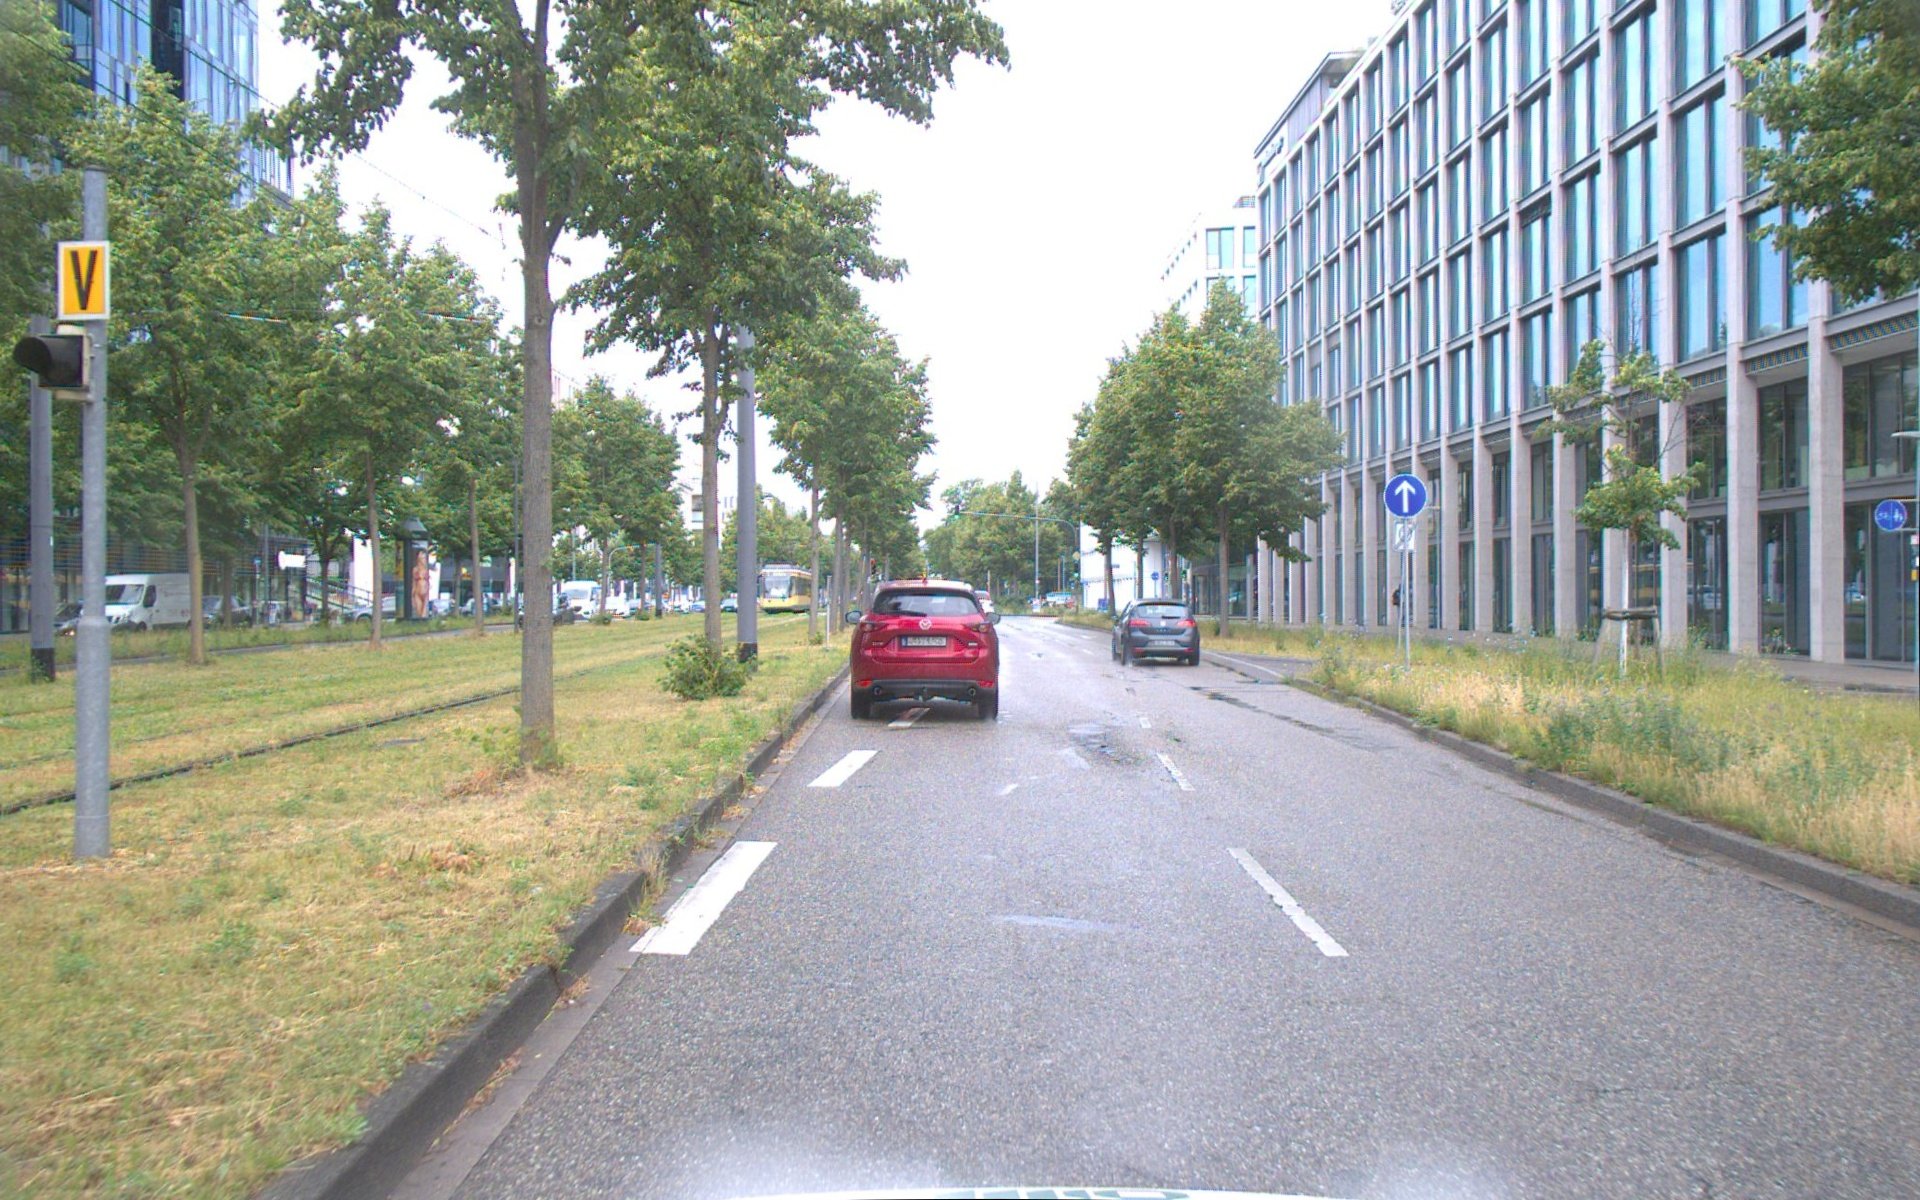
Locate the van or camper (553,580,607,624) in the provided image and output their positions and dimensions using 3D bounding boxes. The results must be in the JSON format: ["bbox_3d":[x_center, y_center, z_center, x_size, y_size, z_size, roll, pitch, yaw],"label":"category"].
[{"bbox_3d":[-21.693,0.091,94.607,1.870,2.453,5.401,0,0,-1],"label":"van or camper"}]

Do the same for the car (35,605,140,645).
[{"bbox_3d":[-32.436,0.899,61.632,1.780,1.402,4.181,0,0,-2],"label":"car"}]

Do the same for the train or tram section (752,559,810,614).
[{"bbox_3d":[-12.748,-0.930,118.637,3.065,3.723,13.402,0,0,-2],"label":"train or tram section"}]

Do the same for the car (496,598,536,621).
[{"bbox_3d":[-30.892,0.636,115.259,1.955,1.510,4.440,0,0,-6],"label":"car"}]

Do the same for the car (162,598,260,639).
[{"bbox_3d":[-29.360,0.694,64.978,1.954,1.548,4.604,0,0,-3],"label":"car"}]

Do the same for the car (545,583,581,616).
[{"bbox_3d":[-31.719,-0.023,132.252,2.212,2.606,4.649,0,0,-6],"label":"car"}]

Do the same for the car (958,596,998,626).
[{"bbox_3d":[0.903,0.564,86.148,1.927,1.462,4.552,1,0,-1],"label":"car"}]

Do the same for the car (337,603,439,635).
[{"bbox_3d":[-29.062,0.946,84.052,4.618,1.548,1.979,0,0,-31],"label":"car"}]

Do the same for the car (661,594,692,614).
[{"bbox_3d":[-20.704,0.314,121.020,1.675,1.429,3.999,0,0,-2],"label":"car"}]

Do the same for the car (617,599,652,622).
[{"bbox_3d":[-24.613,0.781,125.260,1.847,1.484,3.999,6,0,-2],"label":"car"}]

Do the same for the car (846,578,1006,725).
[{"bbox_3d":[-0.465,0.590,21.218,1.860,1.706,3.998,0,0,-2],"label":"car"}]

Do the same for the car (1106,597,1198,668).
[{"bbox_3d":[4.289,0.694,37.348,1.707,1.490,3.782,0,0,1],"label":"car"}]

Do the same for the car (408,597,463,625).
[{"bbox_3d":[-30.478,0.626,96.256,1.954,1.548,4.604,0,0,-3],"label":"car"}]

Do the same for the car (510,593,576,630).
[{"bbox_3d":[-18.296,0.480,72.697,1.825,1.551,4.478,0,0,-1],"label":"car"}]

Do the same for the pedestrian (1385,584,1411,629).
[{"bbox_3d":[17.457,0.256,65.928,0.702,1.744,0.861,-2,0,-2],"label":"pedestrian"}]

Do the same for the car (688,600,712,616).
[{"bbox_3d":[-26.640,0.794,169.530,1.954,1.646,3.997,0,0,-3],"label":"car"}]

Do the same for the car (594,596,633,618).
[{"bbox_3d":[-23.210,0.452,110.802,1.846,1.485,3.999,0,0,-2],"label":"car"}]

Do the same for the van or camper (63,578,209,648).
[{"bbox_3d":[-29.257,0.422,59.003,2.384,2.356,5.848,0,0,-1],"label":"van or camper"}]
